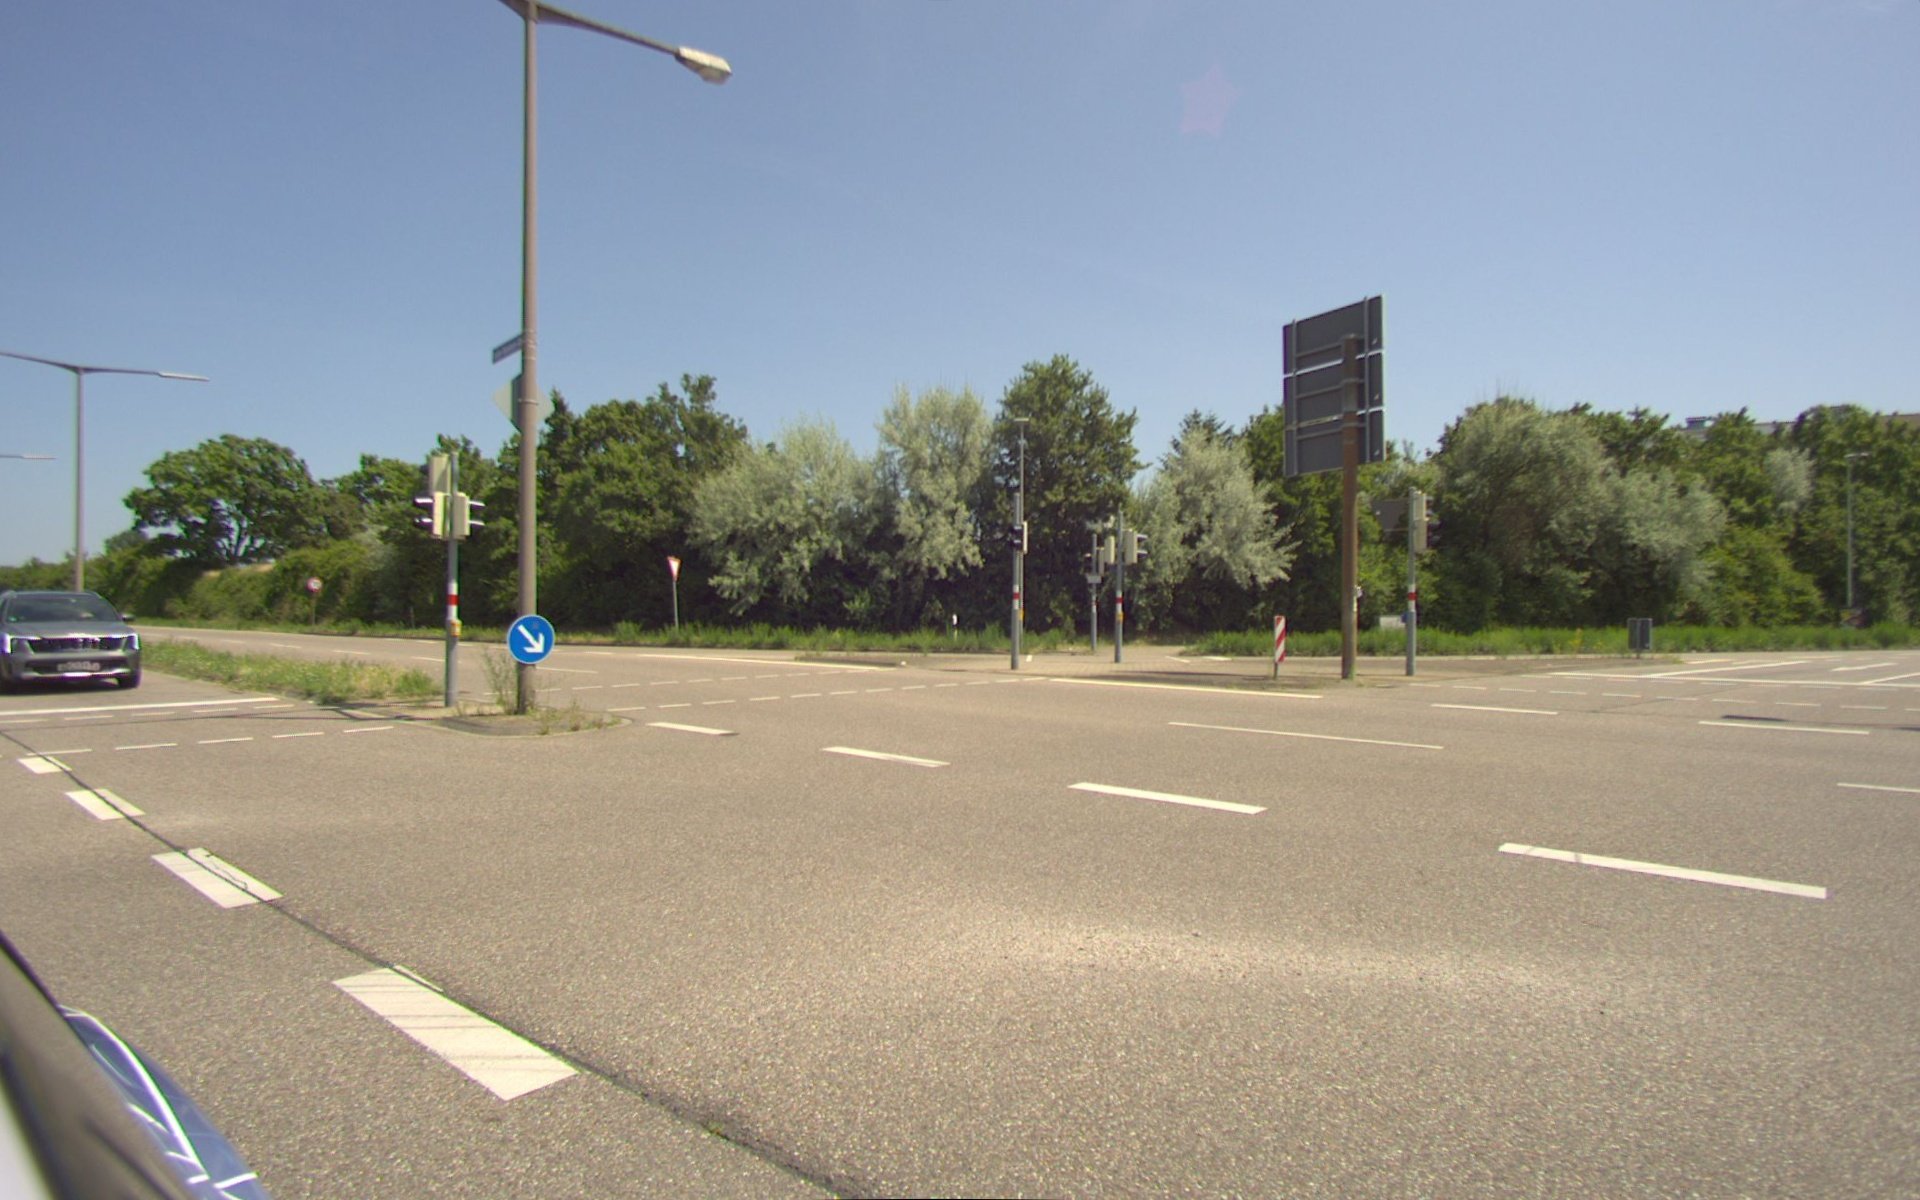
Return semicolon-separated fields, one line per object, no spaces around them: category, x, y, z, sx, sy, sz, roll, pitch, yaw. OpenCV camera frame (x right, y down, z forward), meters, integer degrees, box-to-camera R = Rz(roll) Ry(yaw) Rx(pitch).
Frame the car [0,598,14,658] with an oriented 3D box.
car;-28.808;0.764;29.108;3.999;1.684;1.897;0;0;40

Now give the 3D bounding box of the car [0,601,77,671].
car;-22.393;0.808;23.955;3.998;1.511;1.730;0;0;41

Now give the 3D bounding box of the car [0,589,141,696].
car;-16.251;0.689;18.064;4.529;1.681;1.762;0;-1;41
